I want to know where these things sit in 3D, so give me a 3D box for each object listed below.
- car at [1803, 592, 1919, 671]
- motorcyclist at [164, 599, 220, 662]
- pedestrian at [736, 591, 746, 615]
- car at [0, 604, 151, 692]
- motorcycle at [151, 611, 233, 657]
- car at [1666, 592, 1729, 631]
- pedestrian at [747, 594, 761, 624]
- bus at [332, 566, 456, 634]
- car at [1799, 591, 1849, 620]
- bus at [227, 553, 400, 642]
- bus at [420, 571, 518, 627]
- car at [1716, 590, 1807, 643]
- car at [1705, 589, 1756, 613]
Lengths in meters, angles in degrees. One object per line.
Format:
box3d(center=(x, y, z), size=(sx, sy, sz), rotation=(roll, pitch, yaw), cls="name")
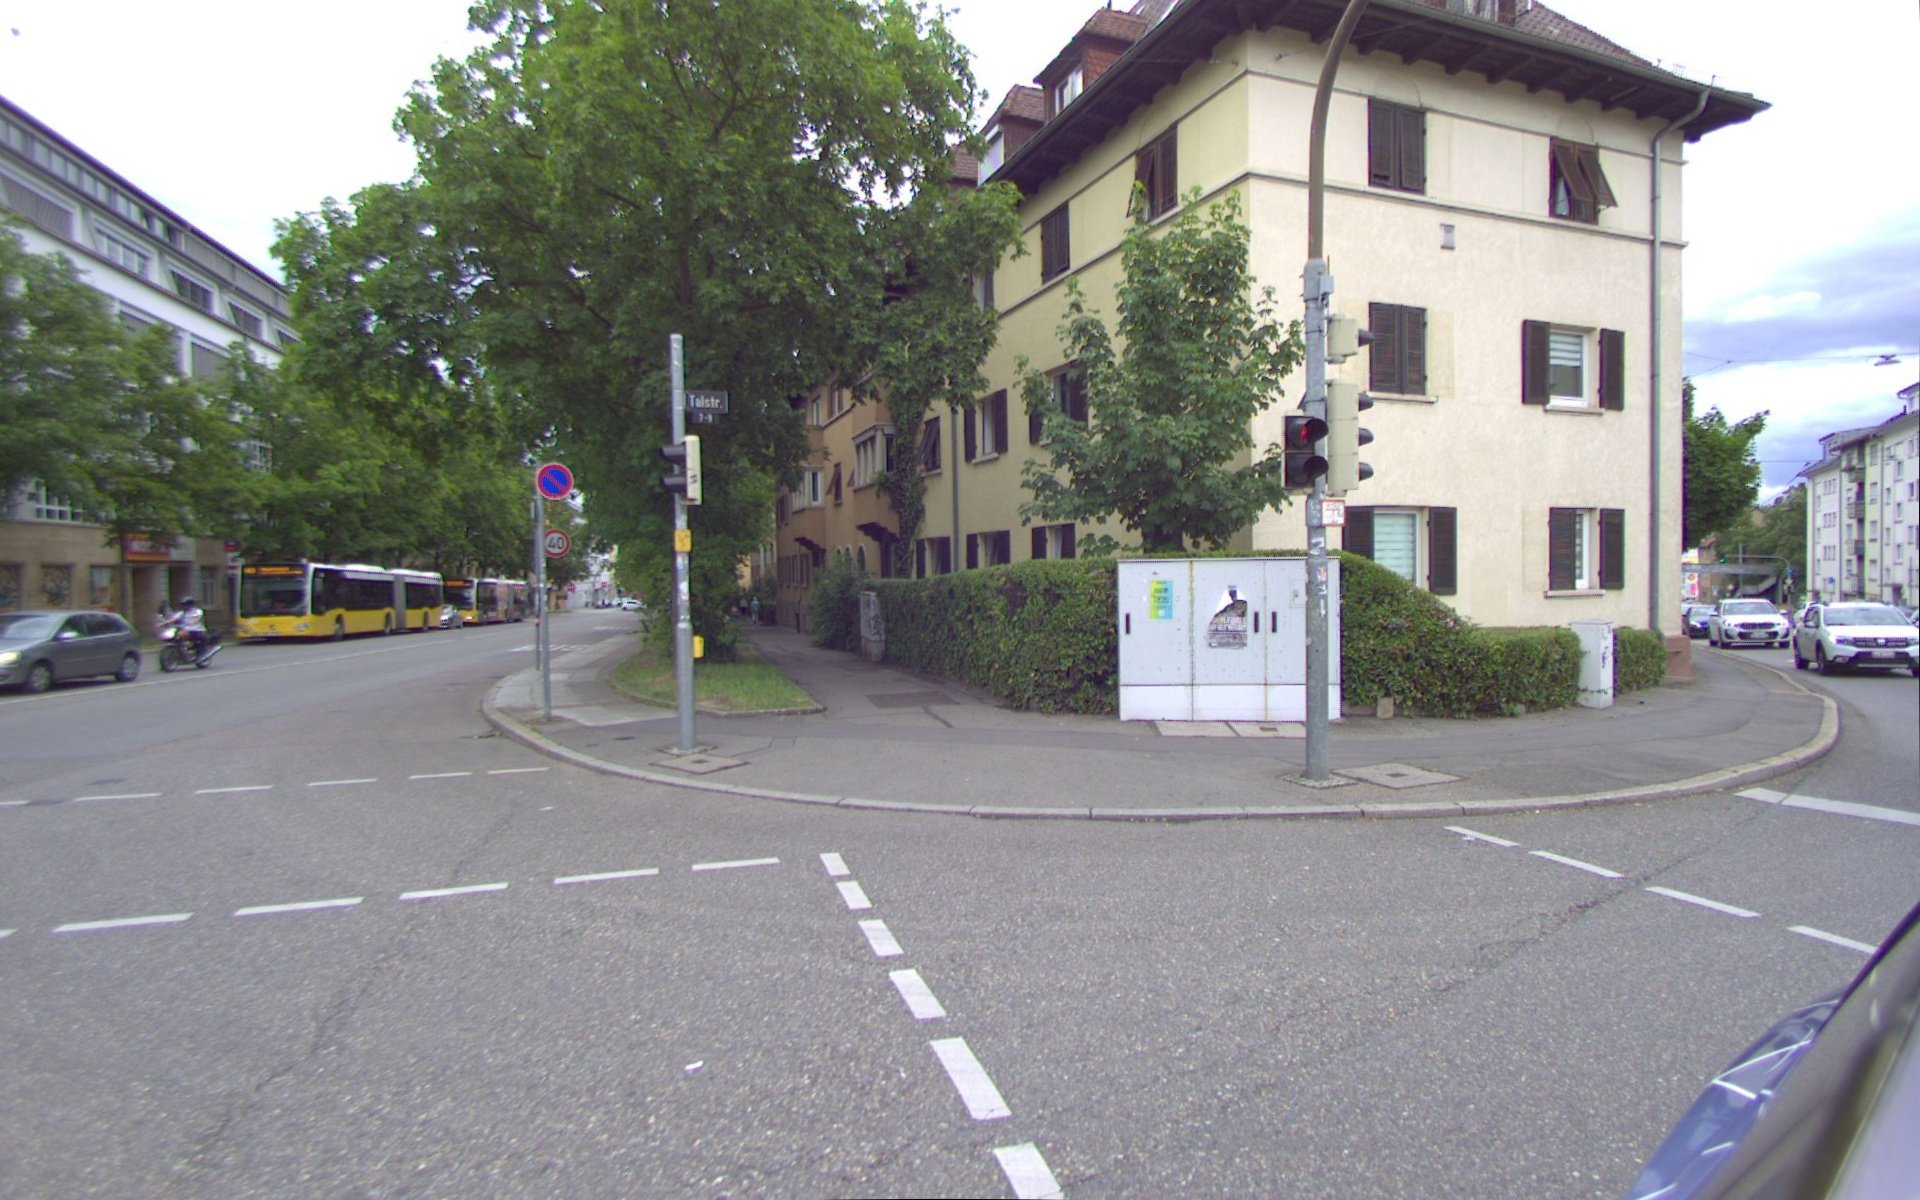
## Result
box3d(center=(19.611, 0.612, 21.739), size=(1.888, 1.529, 4.115), rotation=(-1, 0, 34), cls="car")
box3d(center=(-18.095, 0.708, 23.861), size=(0.694, 1.436, 1.012), rotation=(0, 0, -13), cls="motorcyclist")
box3d(center=(-18.564, 0.236, 85.711), size=(0.744, 2.039, 0.870), rotation=(0, 0, -15), cls="pedestrian")
box3d(center=(-17.183, 0.826, 18.792), size=(1.631, 1.439, 3.797), rotation=(0, 0, -7), cls="car")
box3d(center=(-18.115, 0.775, 23.931), size=(0.625, 1.000, 2.402), rotation=(0, 0, -13), cls="motorcycle")
box3d(center=(32.610, 0.510, 44.831), size=(1.886, 1.601, 3.955), rotation=(1, 0, 31), cls="car")
box3d(center=(-12.364, 0.529, 60.719), size=(0.761, 1.798, 0.662), rotation=(0, 0, -17), cls="pedestrian")
box3d(center=(-28.427, -0.036, 51.438), size=(2.819, 3.088, 10.952), rotation=(0, 0, -14), cls="bus")
box3d(center=(46.540, 0.253, 54.574), size=(1.592, 1.465, 3.488), rotation=(1, 1, 33), cls="car")
box3d(center=(-25.798, -0.125, 41.079), size=(2.803, 3.148, 10.422), rotation=(0, 0, -14), cls="bus")
box3d(center=(-32.452, -0.111, 67.580), size=(3.373, 3.384, 12.862), rotation=(0, 0, -14), cls="bus")
box3d(center=(26.817, 0.490, 33.997), size=(1.885, 1.665, 3.956), rotation=(0, 0, 31), cls="car")
box3d(center=(46.335, 0.058, 60.940), size=(1.867, 1.372, 4.102), rotation=(-2, 0, 30), cls="car")
